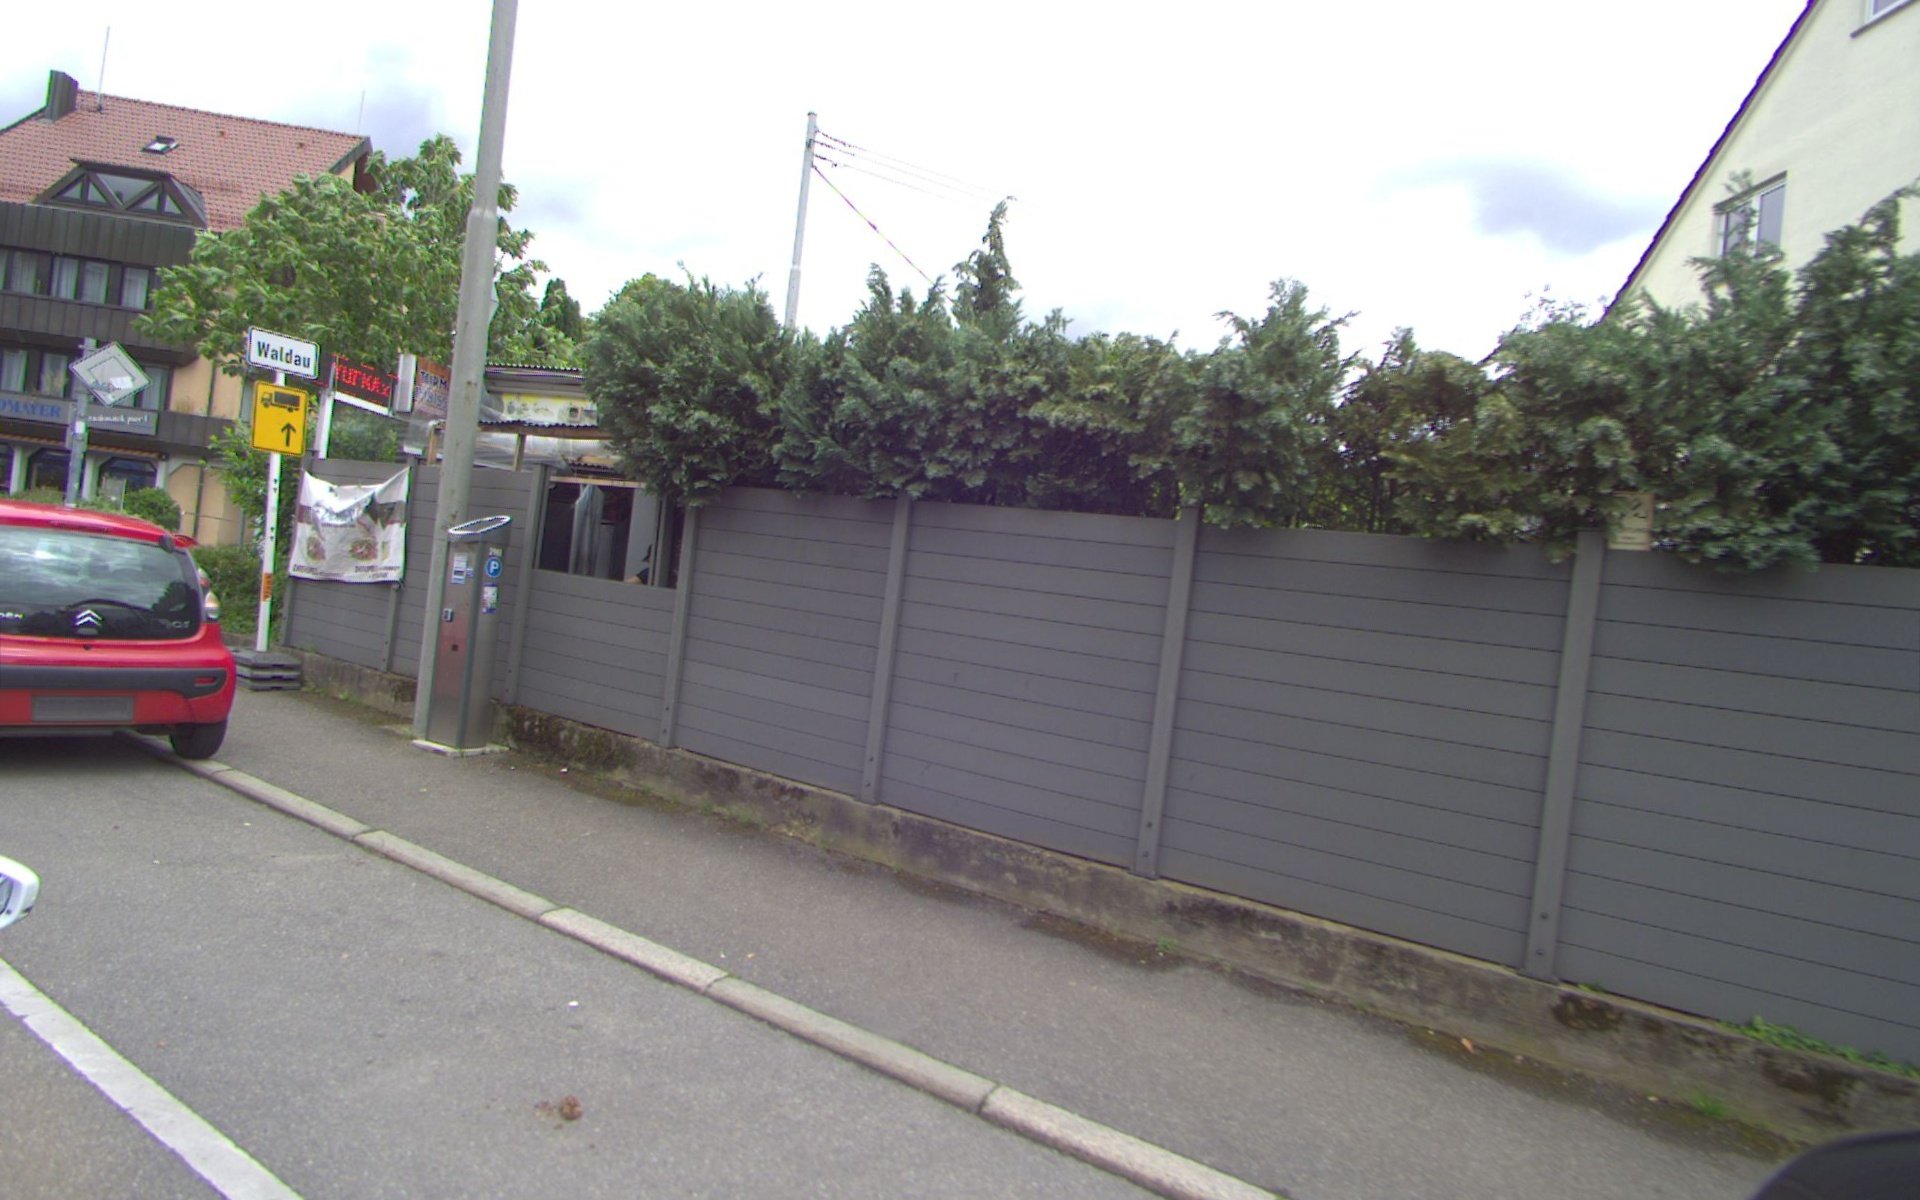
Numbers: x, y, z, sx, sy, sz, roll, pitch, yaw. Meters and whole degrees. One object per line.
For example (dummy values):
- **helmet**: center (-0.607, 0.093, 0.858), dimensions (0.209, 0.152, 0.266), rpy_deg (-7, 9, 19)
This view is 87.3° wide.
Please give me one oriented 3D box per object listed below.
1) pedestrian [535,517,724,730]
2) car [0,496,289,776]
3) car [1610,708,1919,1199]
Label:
- **pedestrian**: center (-2.607, 0.195, 8.006), dimensions (0.957, 1.517, 0.809), rpy_deg (7, -2, 20)
- **car**: center (-6.426, 0.051, 6.695), dimensions (3.935, 1.469, 1.760), rpy_deg (6, -1, 33)
- **car**: center (2.911, 1.113, 0.680), dimensions (3.931, 1.469, 1.762), rpy_deg (7, -1, 28)
